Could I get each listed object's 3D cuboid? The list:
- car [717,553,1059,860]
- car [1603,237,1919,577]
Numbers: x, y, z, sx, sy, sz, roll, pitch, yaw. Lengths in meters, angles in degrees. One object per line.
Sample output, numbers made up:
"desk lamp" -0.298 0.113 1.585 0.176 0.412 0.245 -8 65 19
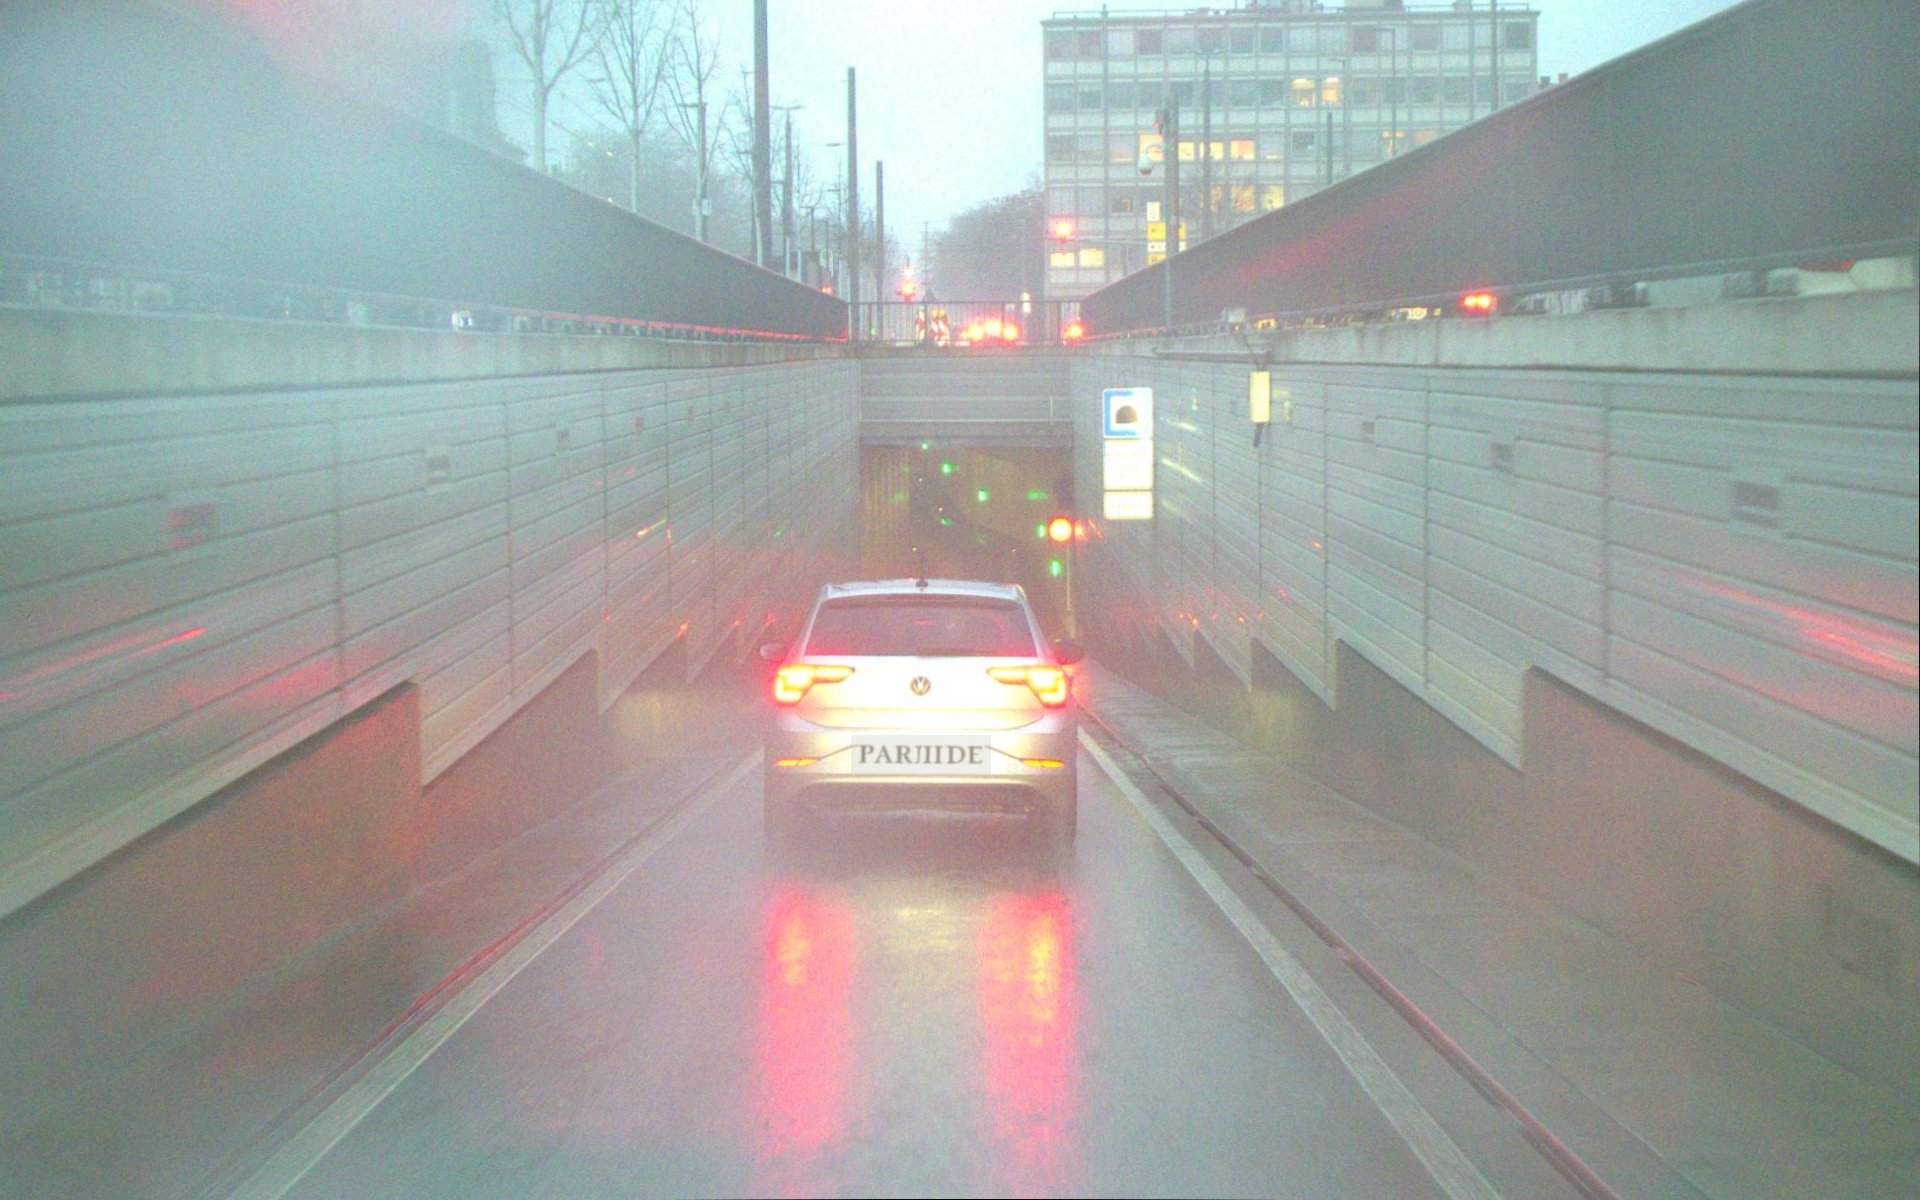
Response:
"car" -0.315 0.524 19.786 1.722 1.474 4.000 2 2 2
"car" 4.402 -0.954 17.111 1.722 1.474 4.001 2 3 2
